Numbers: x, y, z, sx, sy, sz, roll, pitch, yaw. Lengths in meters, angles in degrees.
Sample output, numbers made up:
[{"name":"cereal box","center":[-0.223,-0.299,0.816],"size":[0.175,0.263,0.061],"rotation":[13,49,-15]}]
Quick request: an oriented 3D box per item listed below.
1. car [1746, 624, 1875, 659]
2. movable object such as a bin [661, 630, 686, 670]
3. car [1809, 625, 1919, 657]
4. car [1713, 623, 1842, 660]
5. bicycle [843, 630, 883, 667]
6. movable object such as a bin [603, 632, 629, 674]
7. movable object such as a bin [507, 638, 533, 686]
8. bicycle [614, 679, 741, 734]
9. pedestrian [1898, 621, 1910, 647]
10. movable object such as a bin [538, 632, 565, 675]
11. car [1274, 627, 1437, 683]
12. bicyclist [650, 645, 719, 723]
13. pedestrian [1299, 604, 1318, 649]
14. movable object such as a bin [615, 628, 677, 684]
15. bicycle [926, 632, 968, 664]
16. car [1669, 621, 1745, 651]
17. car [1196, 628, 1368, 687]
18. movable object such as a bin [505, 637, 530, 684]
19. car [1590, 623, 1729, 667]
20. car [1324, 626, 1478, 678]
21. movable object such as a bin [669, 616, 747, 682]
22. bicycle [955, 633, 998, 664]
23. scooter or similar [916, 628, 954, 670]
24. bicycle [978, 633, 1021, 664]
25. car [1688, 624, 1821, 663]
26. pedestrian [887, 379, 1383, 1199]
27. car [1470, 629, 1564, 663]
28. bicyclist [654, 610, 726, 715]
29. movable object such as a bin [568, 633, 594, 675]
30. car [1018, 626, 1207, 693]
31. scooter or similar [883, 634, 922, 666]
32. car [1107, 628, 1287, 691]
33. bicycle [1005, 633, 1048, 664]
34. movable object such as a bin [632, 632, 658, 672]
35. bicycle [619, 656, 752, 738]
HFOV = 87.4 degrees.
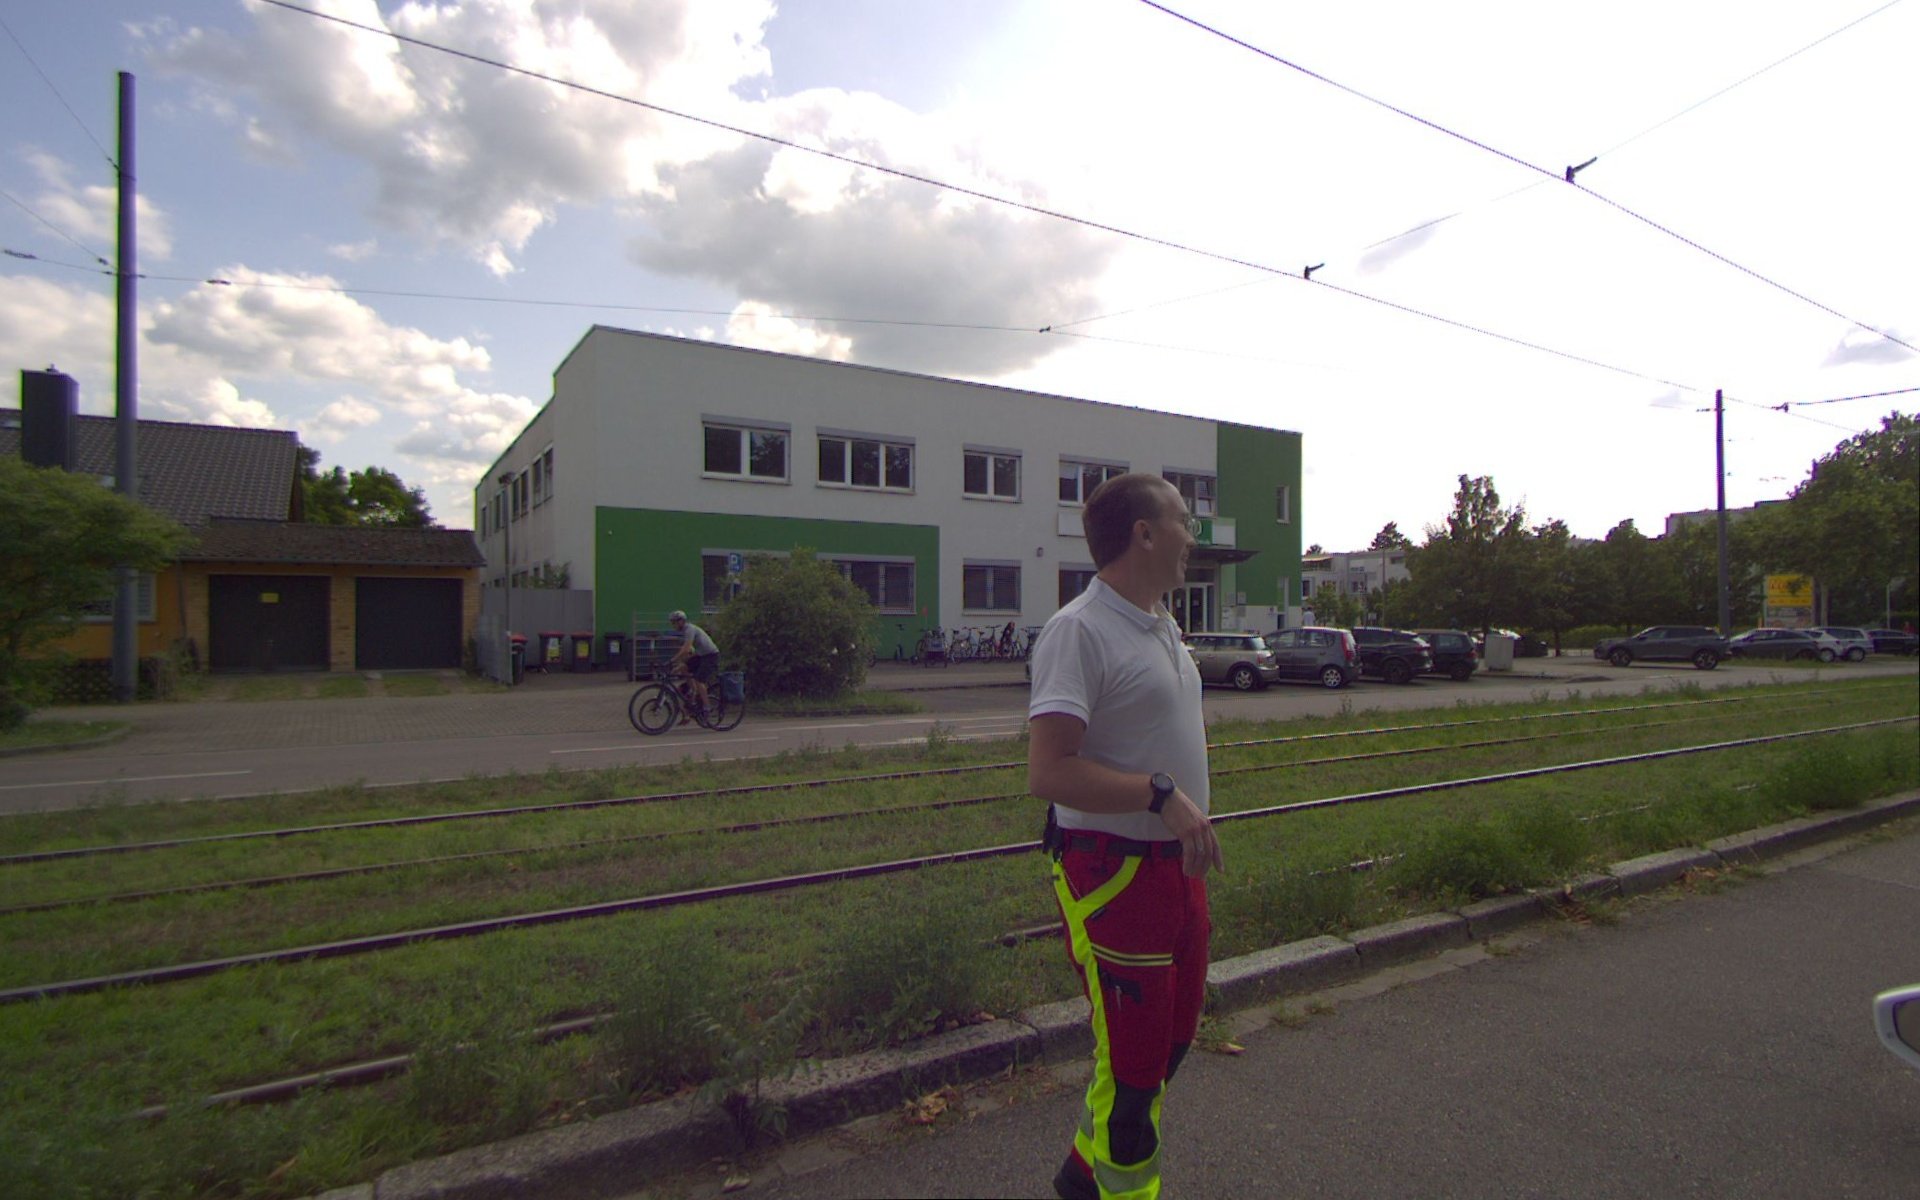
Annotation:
[{"name":"car","center":[39.391,1.896,46.644],"size":[4.154,1.501,1.882],"rotation":[1,-1,23]},{"name":"movable object such as a bin","center":[-7.887,1.373,27.650],"size":[0.558,1.056,0.565],"rotation":[0,1,-31]},{"name":"car","center":[46.179,2.058,51.097],"size":[4.151,1.501,1.883],"rotation":[1,-1,19]},{"name":"car","center":[36.732,1.847,45.266],"size":[4.154,1.501,1.882],"rotation":[1,-1,23]},{"name":"bicycle","center":[-2.913,1.433,30.050],"size":[0.453,0.999,1.848],"rotation":[2,0,-30]},{"name":"movable object such as a bin","center":[-9.209,1.409,26.885],"size":[0.558,1.056,0.565],"rotation":[0,1,-31]},{"name":"movable object such as a bin","center":[-10.134,1.420,23.141],"size":[0.476,1.056,0.502],"rotation":[0,1,-31]},{"name":"bicycle","center":[-4.272,1.597,15.210],"size":[1.781,0.727,0.643],"rotation":[1,-1,-26]},{"name":"pedestrian","center":[62.405,2.267,66.401],"size":[0.597,1.699,0.463],"rotation":[1,-1,-33]},{"name":"movable object such as a bin","center":[-10.572,1.372,25.986],"size":[0.558,1.056,0.565],"rotation":[0,1,-31]},{"name":"car","center":[11.360,1.535,28.900],"size":[4.160,1.501,1.880],"rotation":[-1,-2,30]},{"name":"bicyclist","center":[-4.181,1.261,15.252],"size":[0.916,1.127,0.637],"rotation":[1,-1,-26]},{"name":"pedestrian","center":[14.482,1.090,41.742],"size":[0.503,1.852,0.543],"rotation":[1,-1,-33]},{"name":"movable object such as a bin","center":[-7.553,1.317,24.141],"size":[1.241,1.251,1.001],"rotation":[0,1,-29]},{"name":"bicycle","center":[-0.433,1.518,31.718],"size":[0.453,0.911,1.848],"rotation":[2,0,-30]},{"name":"car","center":[48.516,2.311,65.366],"size":[1.960,1.773,4.000],"rotation":[1,0,0]},{"name":"car","center":[8.746,1.520,27.355],"size":[4.160,1.501,1.880],"rotation":[-1,-2,30]},{"name":"movable object such as a bin","center":[-10.414,1.414,23.623],"size":[0.474,1.056,0.491],"rotation":[0,1,-31]},{"name":"car","center":[26.196,1.649,37.758],"size":[4.164,1.501,1.878],"rotation":[1,-1,34]},{"name":"car","center":[13.560,1.552,30.946],"size":[4.160,1.501,1.880],"rotation":[-1,-2,30]},{"name":"movable object such as a bin","center":[-6.239,1.186,24.902],"size":[1.691,1.540,1.001],"rotation":[0,1,-29]},{"name":"bicycle","center":[0.514,1.550,32.339],"size":[0.453,0.911,1.848],"rotation":[2,0,-30]},{"name":"scooter or similar","center":[-0.749,1.436,29.653],"size":[1.073,1.171,1.306],"rotation":[2,0,-2]},{"name":"bicycle","center":[1.274,1.576,32.803],"size":[0.453,0.911,1.848],"rotation":[2,0,-30]},{"name":"car","center":[34.372,1.849,43.587],"size":[4.154,1.501,1.882],"rotation":[1,-1,23]},{"name":"pedestrian","center":[0.402,0.516,2.084],"size":[0.834,1.709,0.806],"rotation":[0,0,21]},{"name":"car","center":[29.192,2.390,52.773],"size":[1.755,1.586,3.970],"rotation":[2,0,-28]},{"name":"bicyclist","center":[-3.944,0.895,14.640],"size":[0.916,1.477,0.621],"rotation":[1,-1,-26]},{"name":"movable object such as a bin","center":[-9.963,1.401,26.387],"size":[0.558,1.056,0.565],"rotation":[0,1,-31]},{"name":"car","center":[3.682,1.385,24.281],"size":[4.155,1.501,1.882],"rotation":[-1,-2,25]},{"name":"scooter or similar","center":[-1.779,1.529,31.028],"size":[0.453,0.911,1.726],"rotation":[2,0,-30]},{"name":"car","center":[6.091,1.483,25.934],"size":[4.160,1.501,1.880],"rotation":[-1,-2,30]},{"name":"bicycle","center":[2.185,1.598,33.315],"size":[0.453,0.911,1.848],"rotation":[2,0,-30]},{"name":"movable object such as a bin","center":[-8.549,1.403,27.259],"size":[0.558,1.056,0.565],"rotation":[0,1,-31]},{"name":"bicycle","center":[-3.987,1.383,14.604],"size":[1.781,1.094,0.643],"rotation":[1,-1,-27]}]
